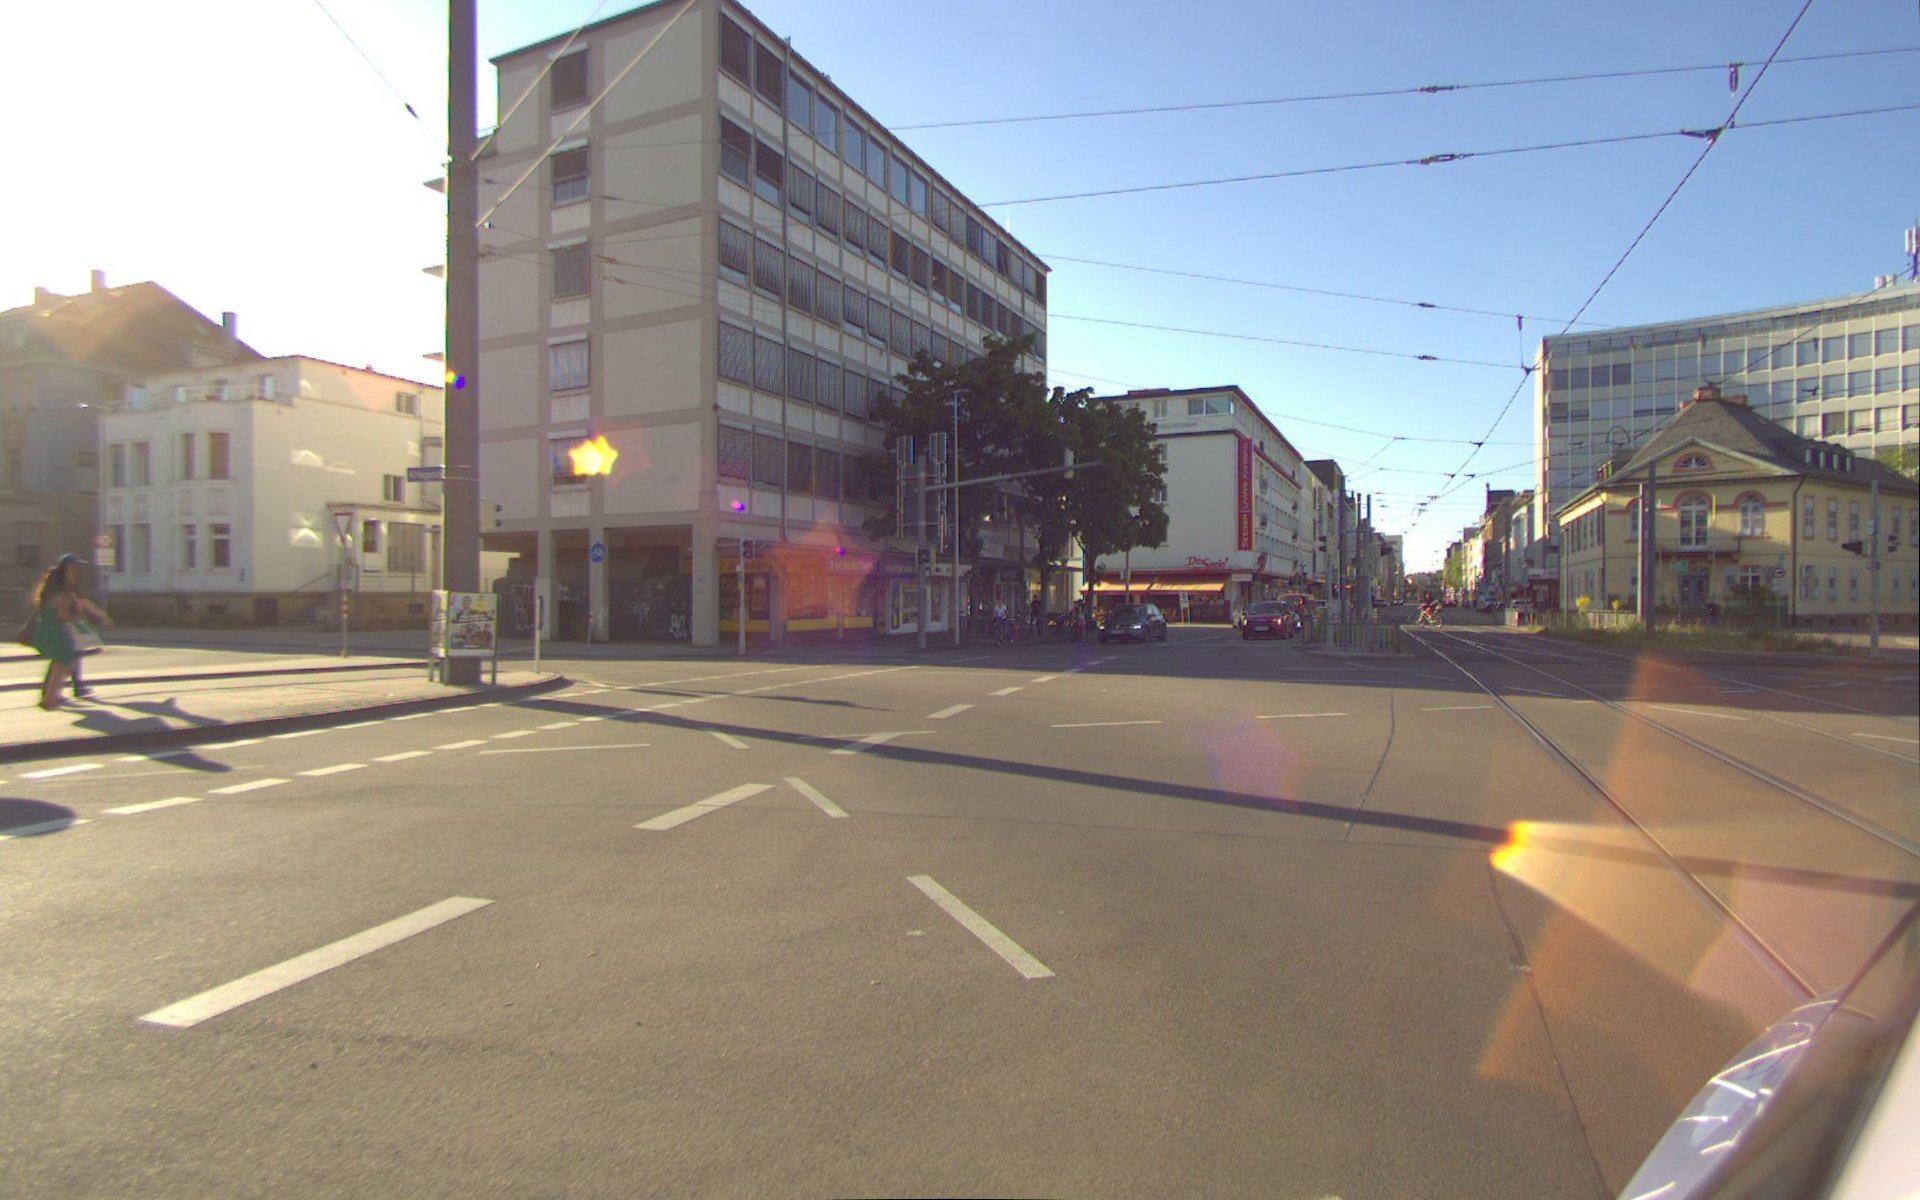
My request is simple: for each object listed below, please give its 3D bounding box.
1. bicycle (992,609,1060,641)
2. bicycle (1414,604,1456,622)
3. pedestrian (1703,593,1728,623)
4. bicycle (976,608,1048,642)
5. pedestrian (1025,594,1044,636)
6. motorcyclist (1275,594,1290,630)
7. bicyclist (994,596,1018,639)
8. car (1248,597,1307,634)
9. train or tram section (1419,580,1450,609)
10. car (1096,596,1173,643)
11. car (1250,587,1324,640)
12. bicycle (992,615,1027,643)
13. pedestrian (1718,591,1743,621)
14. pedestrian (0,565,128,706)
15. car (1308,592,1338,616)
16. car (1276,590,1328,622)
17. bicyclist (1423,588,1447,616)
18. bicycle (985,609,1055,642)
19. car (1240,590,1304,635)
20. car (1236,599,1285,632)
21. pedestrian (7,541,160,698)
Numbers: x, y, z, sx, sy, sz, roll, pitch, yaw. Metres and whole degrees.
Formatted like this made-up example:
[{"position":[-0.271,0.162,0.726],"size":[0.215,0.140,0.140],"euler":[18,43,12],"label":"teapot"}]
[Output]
[{"position":[2.649,1.003,40.649],"size":[2.603,1.158,0.748],"euler":[2,-1,15],"label":"bicycle"},{"position":[25.740,0.706,54.824],"size":[0.710,0.960,1.992],"euler":[1,-2,-31],"label":"bicycle"},{"position":[41.286,0.443,55.295],"size":[0.801,1.663,0.687],"euler":[0,-2,-8],"label":"pedestrian"},{"position":[1.975,0.941,38.526],"size":[2.603,1.158,0.748],"euler":[2,-1,15],"label":"bicycle"},{"position":[3.650,0.742,49.839],"size":[0.711,2.040,0.619],"euler":[-1,-2,37],"label":"pedestrian"},{"position":[13.628,0.501,42.806],"size":[0.529,1.528,0.458],"euler":[-1,-2,26],"label":"motorcyclist"},{"position":[1.566,0.604,34.436],"size":[0.662,1.442,0.677],"euler":[-1,-2,20],"label":"bicyclist"},{"position":[14.741,0.738,47.187],"size":[1.812,1.639,3.992],"euler":[0,-2,6],"label":"car"},{"position":[67.725,-0.807,144.615],"size":[3.675,3.882,13.249],"euler":[-1,0,24],"label":"train or tram section"},{"position":[6.490,0.730,37.315],"size":[1.825,1.639,4.045],"euler":[-1,-2,25],"label":"car"},{"position":[10.754,0.466,33.134],"size":[1.825,1.639,3.964],"euler":[-1,-2,25],"label":"car"},{"position":[1.723,1.000,34.806],"size":[0.662,0.952,2.017],"euler":[-1,-2,19],"label":"bicycle"},{"position":[42.158,0.330,55.398],"size":[0.801,1.663,0.687],"euler":[0,-2,-7],"label":"pedestrian"},{"position":[-9.824,0.382,11.100],"size":[0.844,1.472,0.703],"euler":[0,-2,16],"label":"pedestrian"},{"position":[32.171,0.403,89.588],"size":[1.980,2.040,4.826],"euler":[-1,-2,27],"label":"car"},{"position":[20.961,0.400,61.959],"size":[1.891,1.866,4.569],"euler":[-1,-2,34],"label":"car"},{"position":[25.697,0.111,54.720],"size":[0.710,1.476,0.898],"euler":[1,-2,-31],"label":"bicyclist"},{"position":[2.344,0.978,39.661],"size":[2.603,1.158,0.748],"euler":[2,-1,15],"label":"bicycle"},{"position":[12.113,0.519,39.162],"size":[1.825,1.639,3.964],"euler":[-1,-2,25],"label":"car"},{"position":[15.513,0.839,52.435],"size":[1.813,1.639,3.989],"euler":[0,-2,8],"label":"car"},{"position":[-11.200,0.253,12.975],"size":[0.844,1.908,1.192],"euler":[0,-2,16],"label":"pedestrian"}]
